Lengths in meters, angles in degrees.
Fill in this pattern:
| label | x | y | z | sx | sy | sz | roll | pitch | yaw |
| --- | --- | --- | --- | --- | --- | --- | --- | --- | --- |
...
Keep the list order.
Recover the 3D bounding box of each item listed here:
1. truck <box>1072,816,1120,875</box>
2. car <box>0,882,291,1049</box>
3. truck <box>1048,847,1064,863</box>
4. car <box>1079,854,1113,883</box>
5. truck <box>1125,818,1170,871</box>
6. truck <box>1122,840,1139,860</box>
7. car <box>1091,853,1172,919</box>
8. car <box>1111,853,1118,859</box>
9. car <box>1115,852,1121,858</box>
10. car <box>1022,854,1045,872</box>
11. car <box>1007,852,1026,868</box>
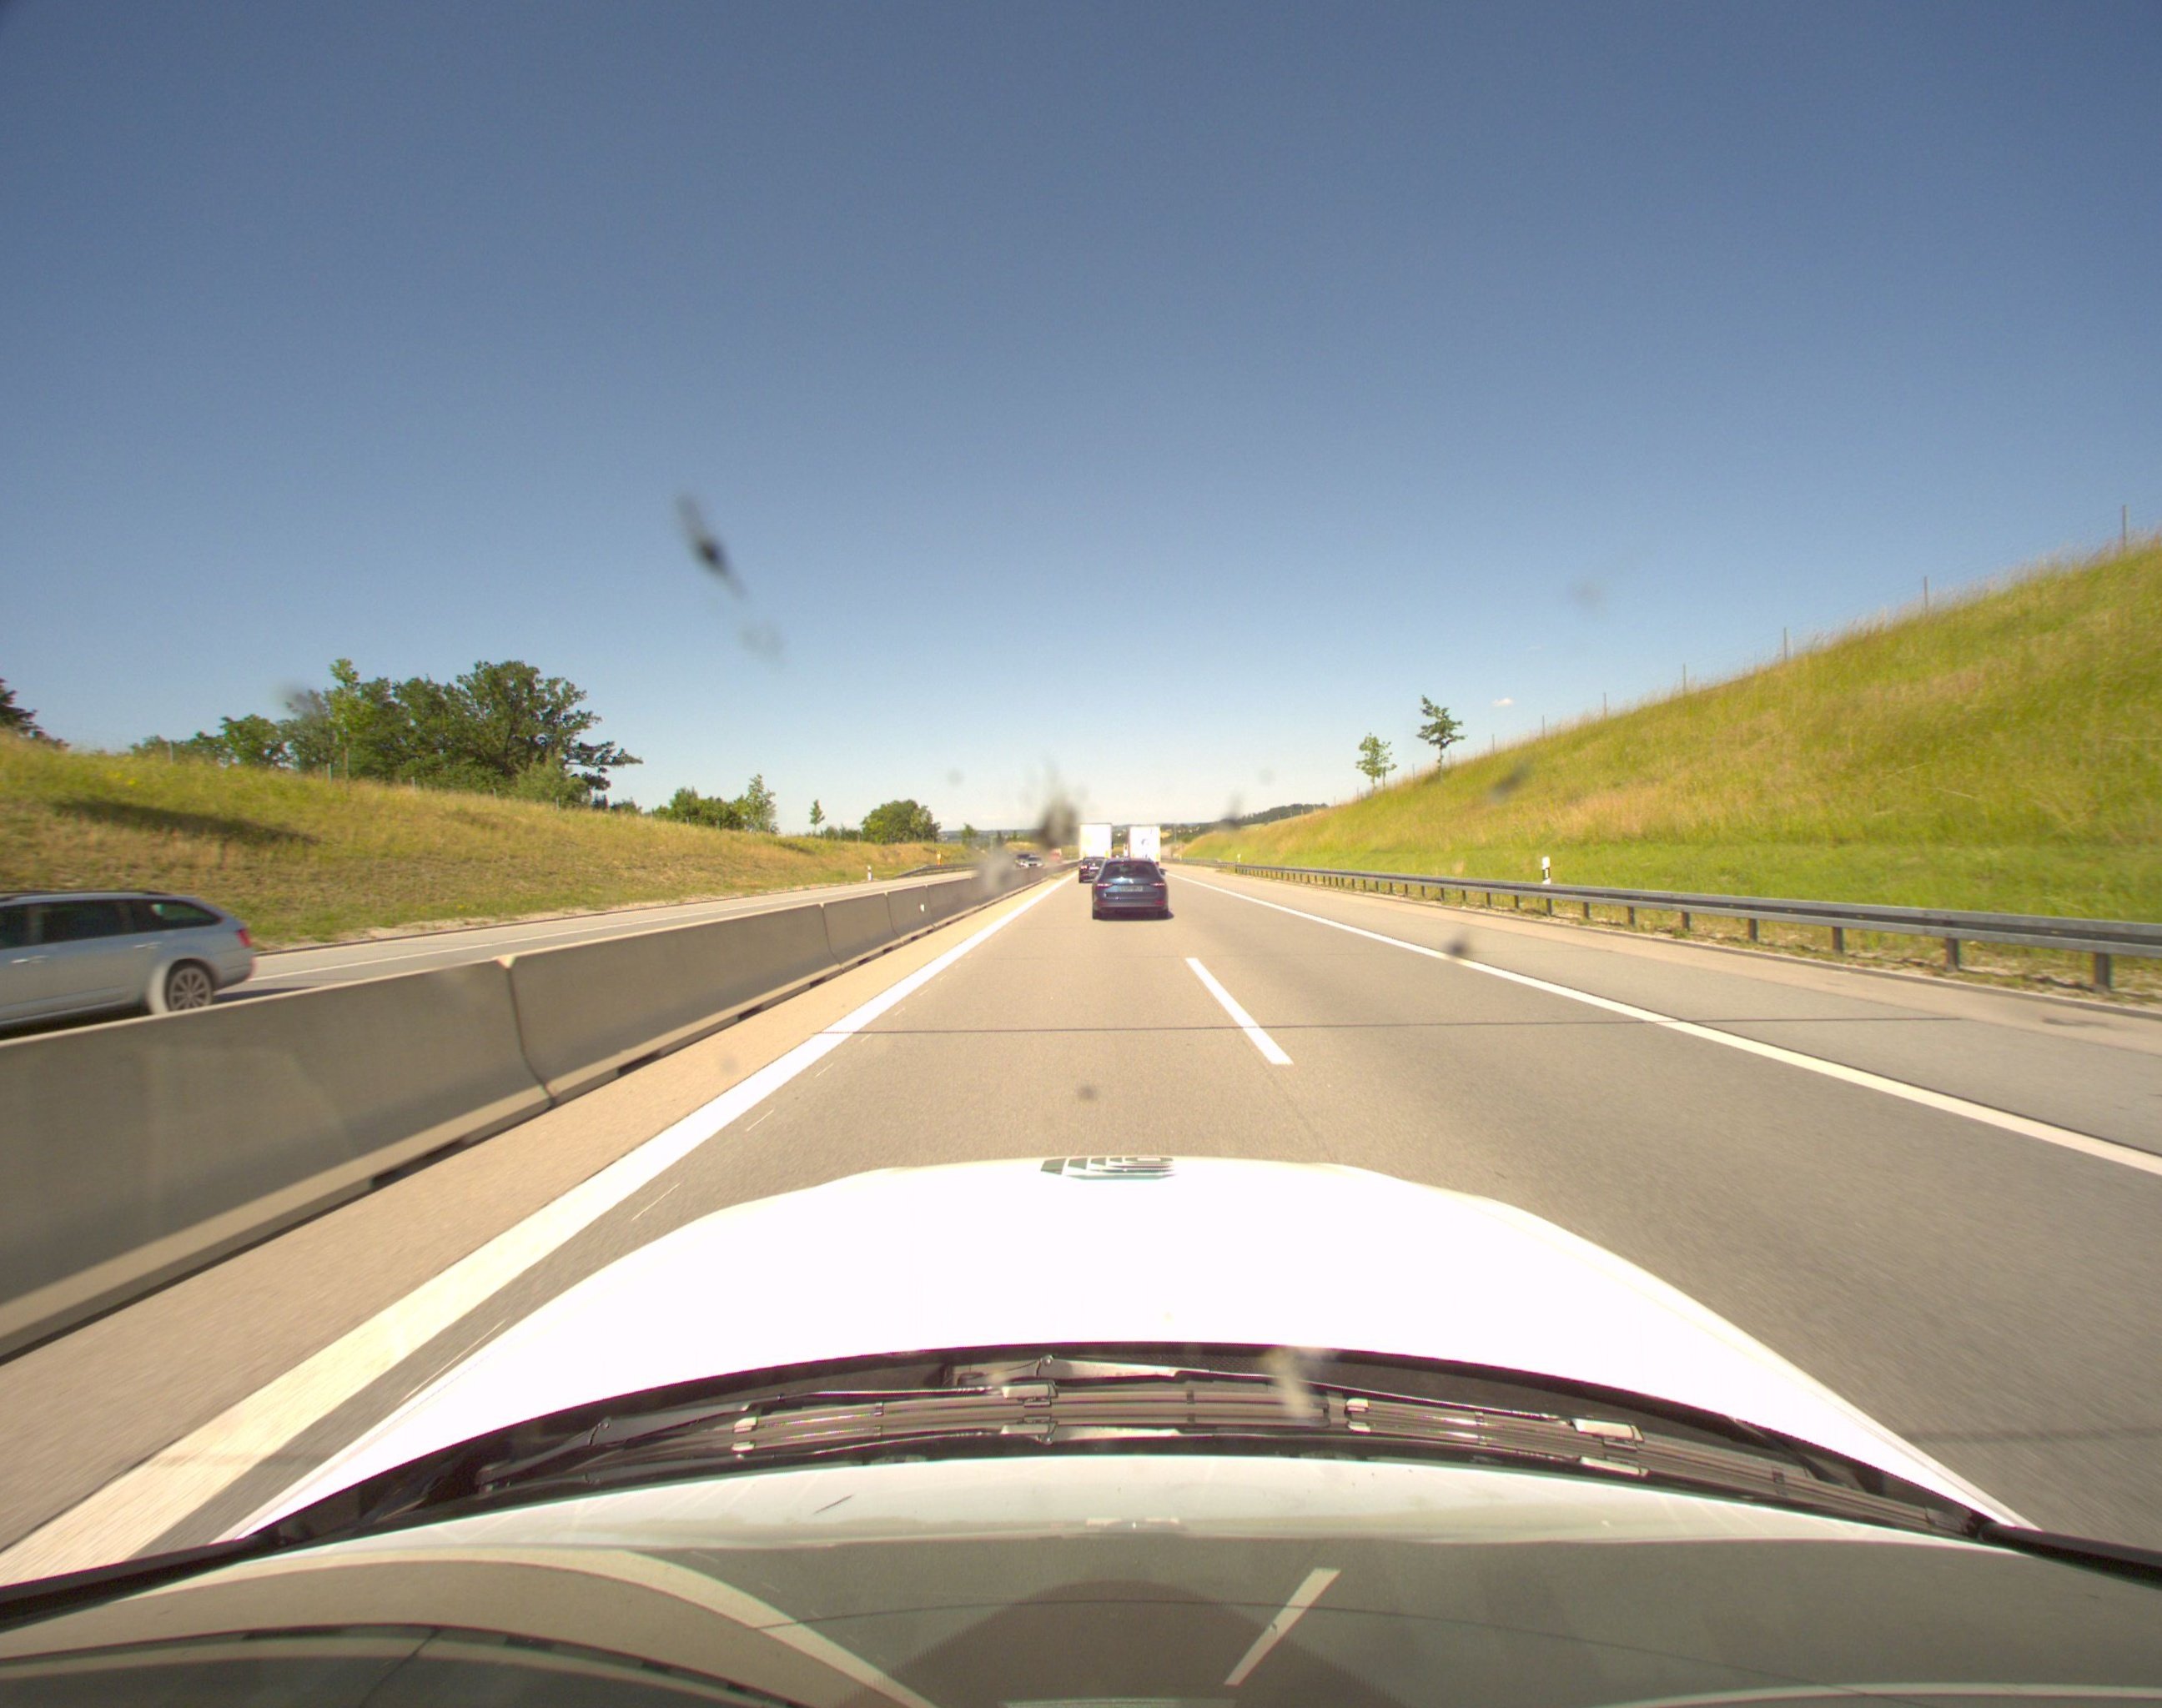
| label | x | y | z | sx | sy | sz | roll | pitch | yaw |
| --- | --- | --- | --- | --- | --- | --- | --- | --- | --- |
| truck | 1.456 | -0.696 | 69.387 | 3.196 | 4.381 | 11.246 | -4 | 0 | 4 |
| car | -11.059 | 1.124 | 8.143 | 1.797 | 1.471 | 4.528 | -2 | 0 | 2 |
| truck | -4.857 | 0.161 | 158.481 | 2.764 | 3.021 | 6.795 | -1 | 0 | 2 |
| car | 0.818 | 0.749 | 45.409 | 1.694 | 1.441 | 4.000 | -4 | 0 | 0 |
| truck | 6.072 | -0.824 | 75.499 | 3.588 | 4.381 | 11.245 | -4 | 0 | 4 |
| truck | 11.477 | -0.965 | 188.603 | 3.588 | 4.381 | 11.245 | -4 | 0 | 4 |
| car | 1.154 | 0.723 | 20.091 | 1.771 | 1.441 | 3.788 | -1 | 0 | 0 |
| car | 8.077 | 0.449 | 198.379 | 1.693 | 1.441 | 4.003 | -1 | 0 | 3 |
| car | 10.931 | 0.295 | 237.460 | 1.693 | 1.441 | 4.003 | -1 | 0 | 3 |
| car | -4.852 | 0.892 | 83.163 | 1.924 | 1.732 | 4.888 | 0 | 0 | 2 |
| car | -8.375 | 0.742 | 106.563 | 1.986 | 2.013 | 4.972 | 0 | 0 | 2 |
